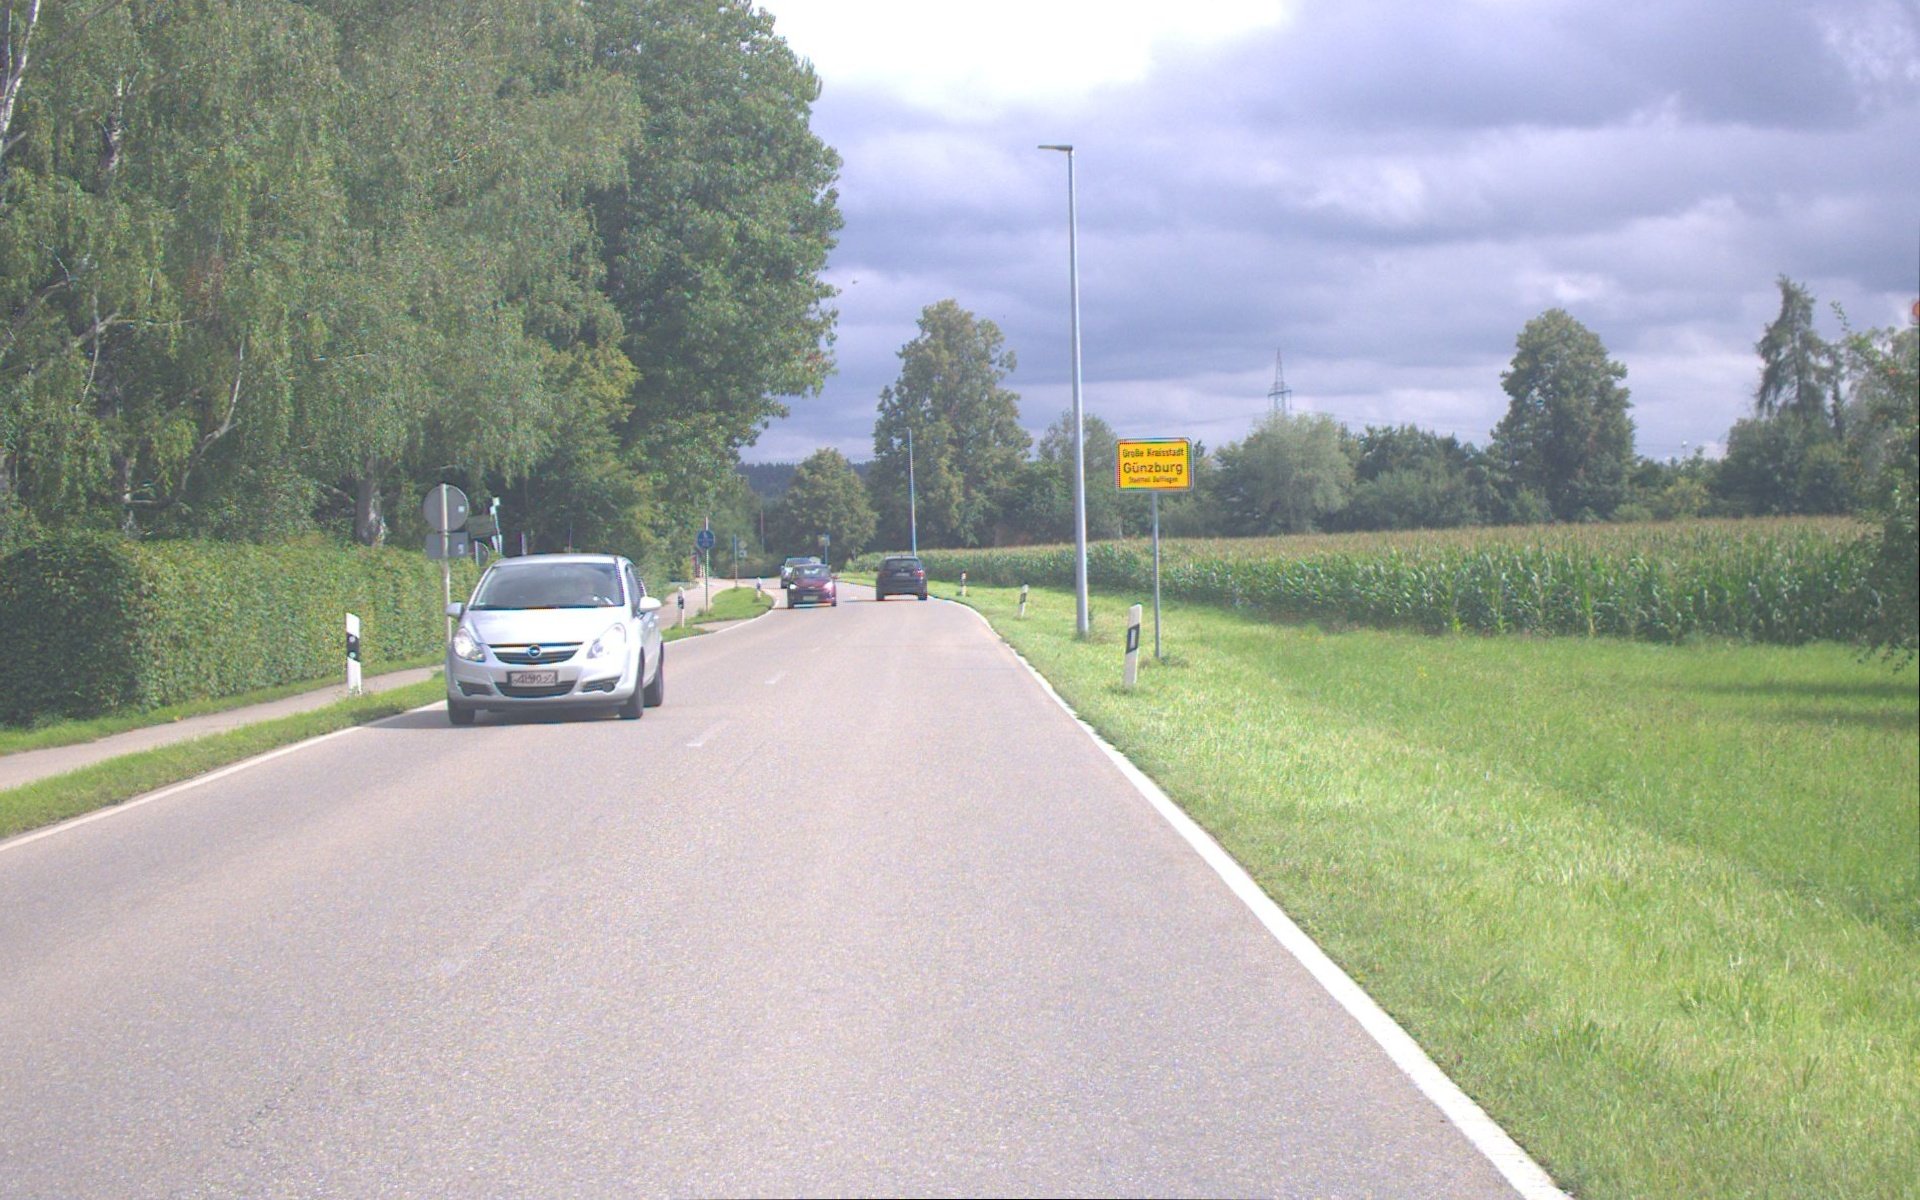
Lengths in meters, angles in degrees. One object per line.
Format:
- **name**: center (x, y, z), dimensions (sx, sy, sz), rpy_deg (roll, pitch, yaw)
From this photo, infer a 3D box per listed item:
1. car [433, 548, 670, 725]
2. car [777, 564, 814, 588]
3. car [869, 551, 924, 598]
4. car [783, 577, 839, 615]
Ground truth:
- **car**: center (-3.618, 0.287, 30.957), dimensions (1.695, 1.454, 3.543), rpy_deg (-2, 1, 0)
- **car**: center (-8.767, -1.281, 183.428), dimensions (1.745, 1.218, 3.543), rpy_deg (-2, 1, 0)
- **car**: center (-2.398, -0.978, 129.297), dimensions (1.906, 1.660, 4.000), rpy_deg (-2, 1, -3)
- **car**: center (-5.079, -0.153, 117.265), dimensions (1.745, 1.218, 3.543), rpy_deg (-2, 1, 0)
